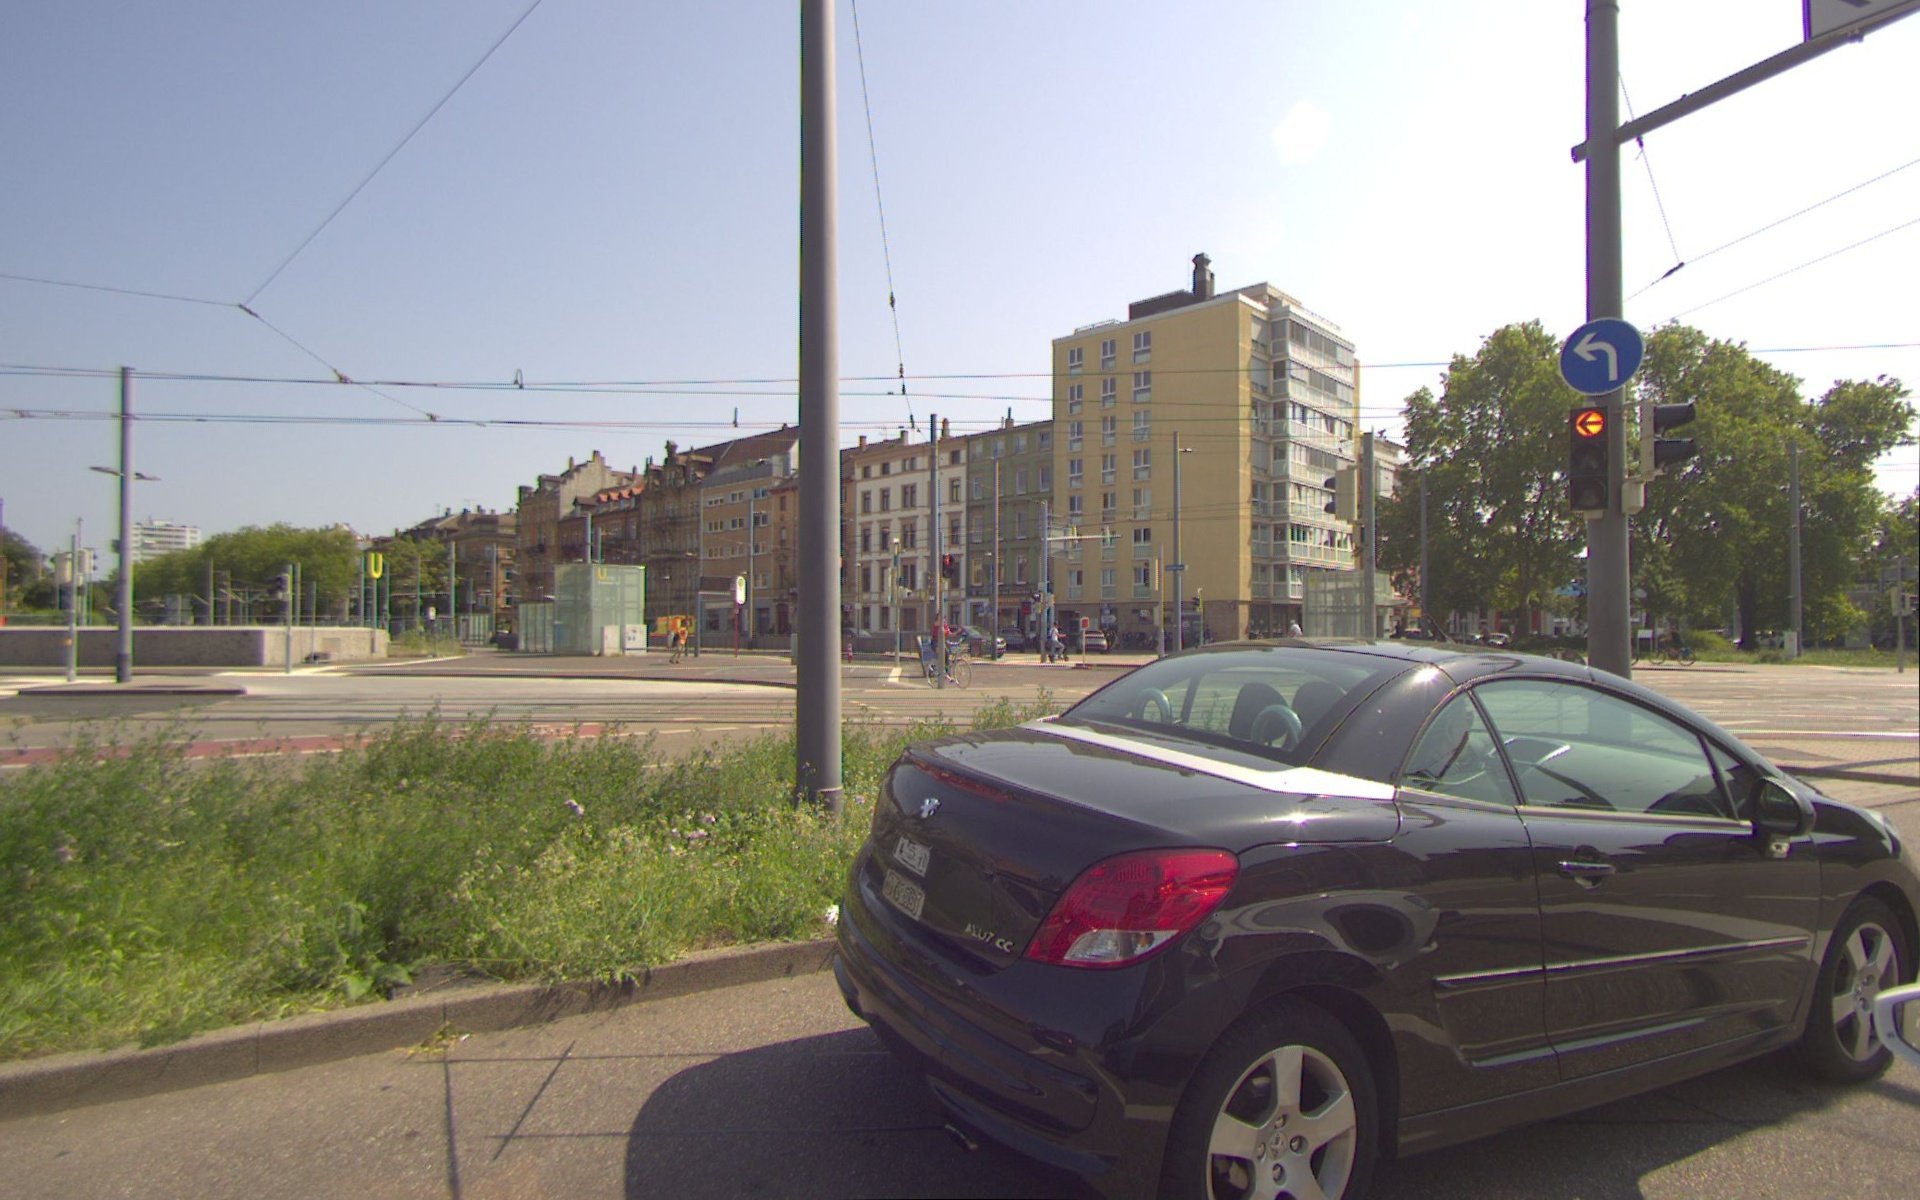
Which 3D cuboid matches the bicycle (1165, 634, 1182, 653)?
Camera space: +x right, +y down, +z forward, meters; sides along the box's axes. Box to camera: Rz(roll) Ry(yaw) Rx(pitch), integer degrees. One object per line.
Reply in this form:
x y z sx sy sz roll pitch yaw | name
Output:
14.160 2.852 66.598 0.680 1.220 3.265 0 -2 5 | bicycle

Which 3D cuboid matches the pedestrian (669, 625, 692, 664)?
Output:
-11.178 1.780 40.169 0.846 1.563 0.740 1 -2 -21 | pedestrian

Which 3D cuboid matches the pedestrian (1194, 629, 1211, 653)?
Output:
15.755 2.658 65.292 0.846 1.563 0.740 -1 -2 40 | pedestrian

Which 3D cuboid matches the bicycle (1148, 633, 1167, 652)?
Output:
13.232 2.840 67.508 0.892 1.220 3.265 0 -2 5 | bicycle

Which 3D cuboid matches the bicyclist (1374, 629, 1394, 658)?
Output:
22.740 2.334 53.883 0.898 1.528 0.557 -1 -2 36 | bicyclist

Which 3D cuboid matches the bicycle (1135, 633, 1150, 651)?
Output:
12.393 2.839 68.189 0.680 1.220 3.265 0 -2 5 | bicycle

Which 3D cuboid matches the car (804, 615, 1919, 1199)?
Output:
1.532 0.792 3.410 3.731 1.406 1.760 1 0 -26 | car

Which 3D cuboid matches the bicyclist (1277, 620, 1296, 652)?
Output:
18.527 2.052 57.008 0.494 1.831 0.915 2 -2 -41 | bicyclist

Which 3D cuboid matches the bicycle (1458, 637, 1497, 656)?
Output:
27.135 2.432 52.674 0.413 0.954 1.798 2 -2 -41 | bicycle

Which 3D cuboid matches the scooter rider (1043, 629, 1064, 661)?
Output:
4.116 1.969 44.245 0.602 1.371 0.682 1 -2 -34 | scooter rider

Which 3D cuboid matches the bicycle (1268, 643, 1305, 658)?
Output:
18.540 2.833 57.020 0.476 0.813 2.030 2 -2 -41 | bicycle

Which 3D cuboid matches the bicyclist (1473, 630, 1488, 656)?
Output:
27.194 2.241 52.483 0.555 1.310 0.540 2 -2 -41 | bicyclist

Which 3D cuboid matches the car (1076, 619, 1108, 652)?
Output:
8.155 2.155 61.694 1.767 1.951 4.003 0 -2 10 | car

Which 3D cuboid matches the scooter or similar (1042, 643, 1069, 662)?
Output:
4.193 2.314 44.173 1.132 0.835 0.517 1 -2 -35 | scooter or similar

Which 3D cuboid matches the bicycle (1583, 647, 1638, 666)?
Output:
29.207 2.532 45.108 0.476 0.813 2.030 2 -2 -41 | bicycle

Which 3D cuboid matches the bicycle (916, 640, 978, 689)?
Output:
-0.328 1.515 24.051 0.499 1.108 1.918 1 -2 -35 | bicycle

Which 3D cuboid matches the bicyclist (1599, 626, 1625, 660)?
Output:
29.246 1.906 45.042 0.493 1.502 0.863 2 -2 -41 | bicyclist

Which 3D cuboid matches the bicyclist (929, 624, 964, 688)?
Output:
-0.319 1.336 24.166 0.632 1.529 0.553 1 -2 -36 | bicyclist

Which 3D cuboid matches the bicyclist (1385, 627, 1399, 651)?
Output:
24.242 2.193 56.390 0.555 1.310 0.540 2 -2 -41 | bicyclist

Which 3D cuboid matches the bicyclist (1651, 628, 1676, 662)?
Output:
31.773 2.027 45.366 0.861 1.495 0.543 -1 -2 43 | bicyclist

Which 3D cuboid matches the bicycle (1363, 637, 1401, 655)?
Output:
22.667 2.482 53.933 1.790 0.954 0.566 -1 -2 35 | bicycle

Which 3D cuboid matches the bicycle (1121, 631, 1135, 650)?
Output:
11.554 2.782 69.216 0.680 1.220 2.793 0 -2 5 | bicycle

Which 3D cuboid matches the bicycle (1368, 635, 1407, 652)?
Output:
24.096 2.460 56.625 0.464 0.954 2.014 2 -2 -41 | bicycle

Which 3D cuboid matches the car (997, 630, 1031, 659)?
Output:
3.599 2.925 66.413 1.767 1.843 4.003 0 -2 10 | car

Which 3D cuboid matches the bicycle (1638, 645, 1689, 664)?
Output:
31.759 2.457 45.342 1.836 0.813 0.604 -1 -2 43 | bicycle
